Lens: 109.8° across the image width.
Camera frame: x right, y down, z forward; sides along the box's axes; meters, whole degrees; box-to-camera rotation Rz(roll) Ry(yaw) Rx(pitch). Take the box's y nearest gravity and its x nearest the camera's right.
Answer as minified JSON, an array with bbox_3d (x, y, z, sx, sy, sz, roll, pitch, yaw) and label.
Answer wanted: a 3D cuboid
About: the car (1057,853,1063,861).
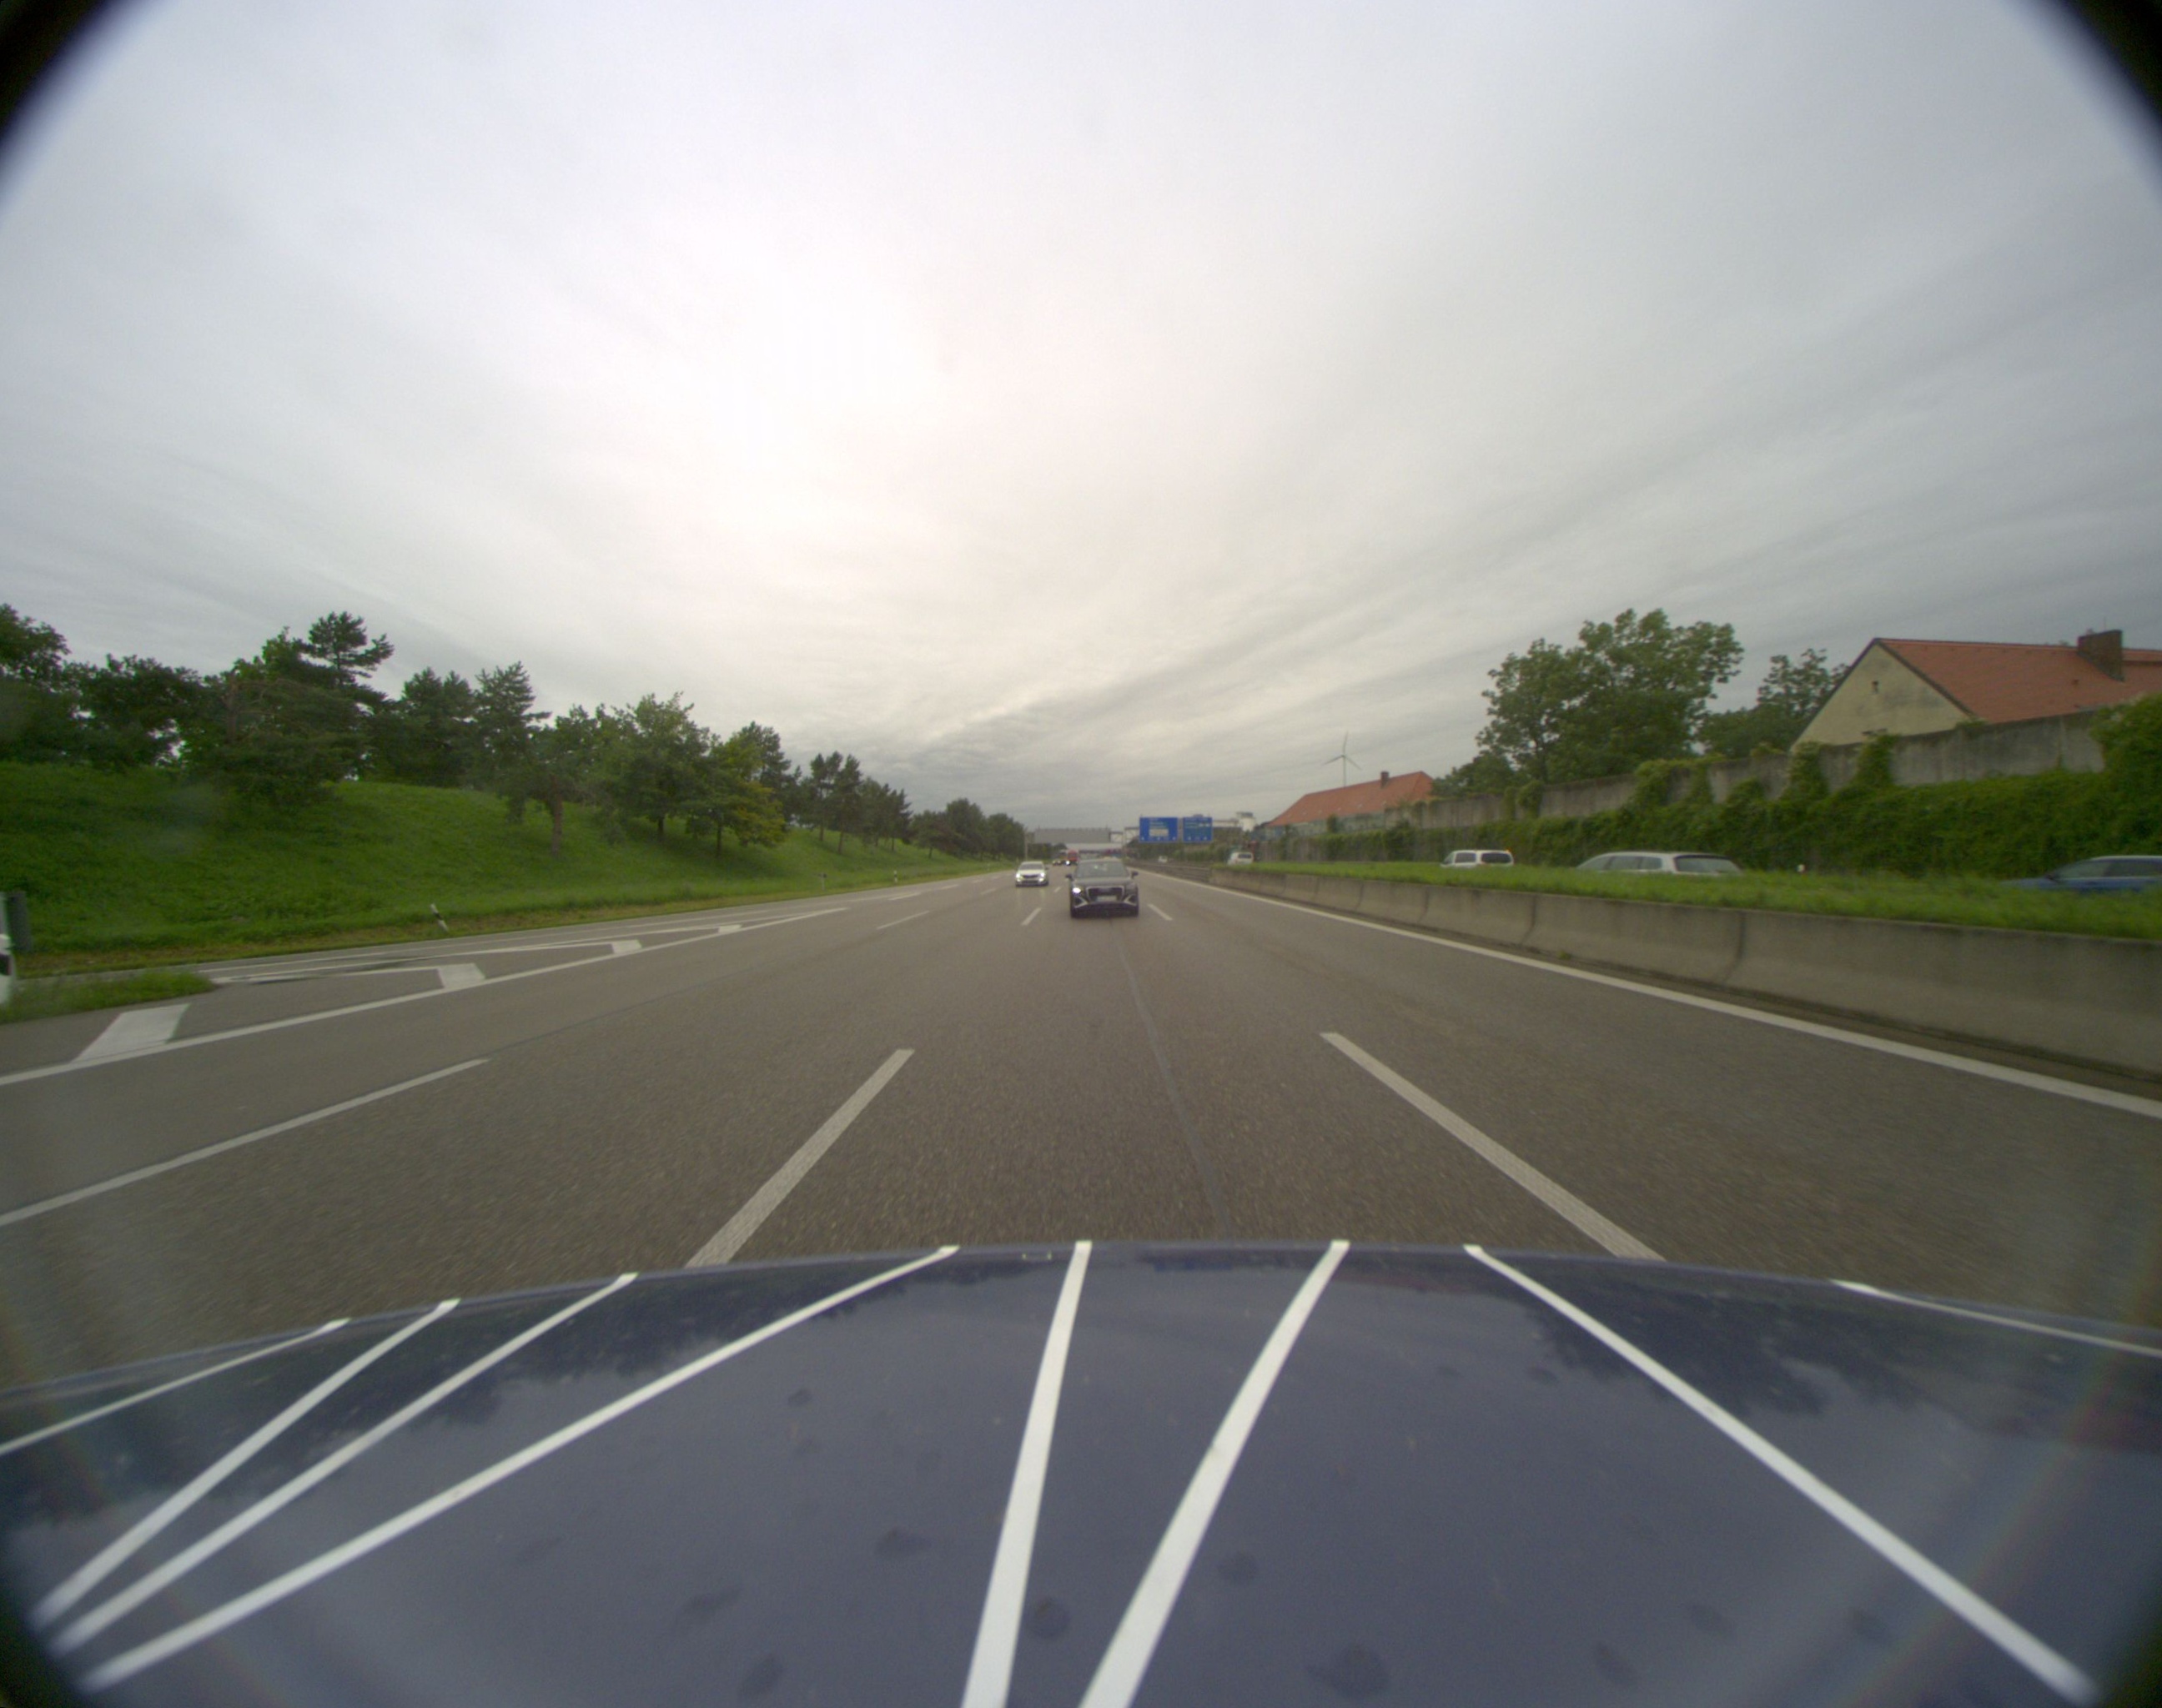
[{"bbox_3d":[-4.813,0.643,174.793,1.346,1.732,3.106,-2,1,1],"label":"car"}]

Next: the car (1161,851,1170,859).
[{"bbox_3d":[22.237,0.353,199.944,1.998,2.002,4.956,-2,1,0],"label":"car"}]

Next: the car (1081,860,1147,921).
[{"bbox_3d":[0.839,0.937,20.835,1.616,1.403,3.326,-2,1,0],"label":"car"}]

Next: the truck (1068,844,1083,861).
[{"bbox_3d":[-1.156,-0.390,170.326,2.836,3.634,10.670,-2,1,1],"label":"truck"}]

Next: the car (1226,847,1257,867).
[{"bbox_3d":[16.622,0.317,78.758,2.085,2.002,5.195,-1,0,0],"label":"car"}]

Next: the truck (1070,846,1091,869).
[{"bbox_3d":[-0.008,0.262,72.340,1.894,2.002,6.261,-2,1,1],"label":"truck"}]

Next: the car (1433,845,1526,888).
[{"bbox_3d":[20.425,0.603,39.266,1.999,2.002,5.226,-2,1,0],"label":"car"}]

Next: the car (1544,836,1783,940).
[{"bbox_3d":[12.913,0.658,17.294,1.999,2.002,4.400,-2,1,-1],"label":"car"}]

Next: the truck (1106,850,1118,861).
[{"bbox_3d":[5.831,0.206,144.140,1.998,2.002,4.000,-2,0,1],"label":"truck"}]

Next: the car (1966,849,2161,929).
[{"bbox_3d":[22.968,0.707,16.840,1.999,1.565,3.999,-2,1,-2],"label":"car"}]

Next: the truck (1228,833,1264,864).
[{"bbox_3d":[21.719,-0.735,100.374,2.698,3.755,8.336,-2,1,0],"label":"truck"}]

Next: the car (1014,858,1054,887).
[{"bbox_3d":[-2.758,1.058,45.596,1.998,1.555,4.910,-1,0,1],"label":"car"}]

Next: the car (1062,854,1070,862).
[{"bbox_3d":[-4.117,1.123,212.534,1.998,2.002,4.000,-2,1,2],"label":"car"}]

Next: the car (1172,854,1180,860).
[{"bbox_3d":[28.940,0.905,231.899,1.960,1.543,4.521,-2,1,2],"label":"car"}]
